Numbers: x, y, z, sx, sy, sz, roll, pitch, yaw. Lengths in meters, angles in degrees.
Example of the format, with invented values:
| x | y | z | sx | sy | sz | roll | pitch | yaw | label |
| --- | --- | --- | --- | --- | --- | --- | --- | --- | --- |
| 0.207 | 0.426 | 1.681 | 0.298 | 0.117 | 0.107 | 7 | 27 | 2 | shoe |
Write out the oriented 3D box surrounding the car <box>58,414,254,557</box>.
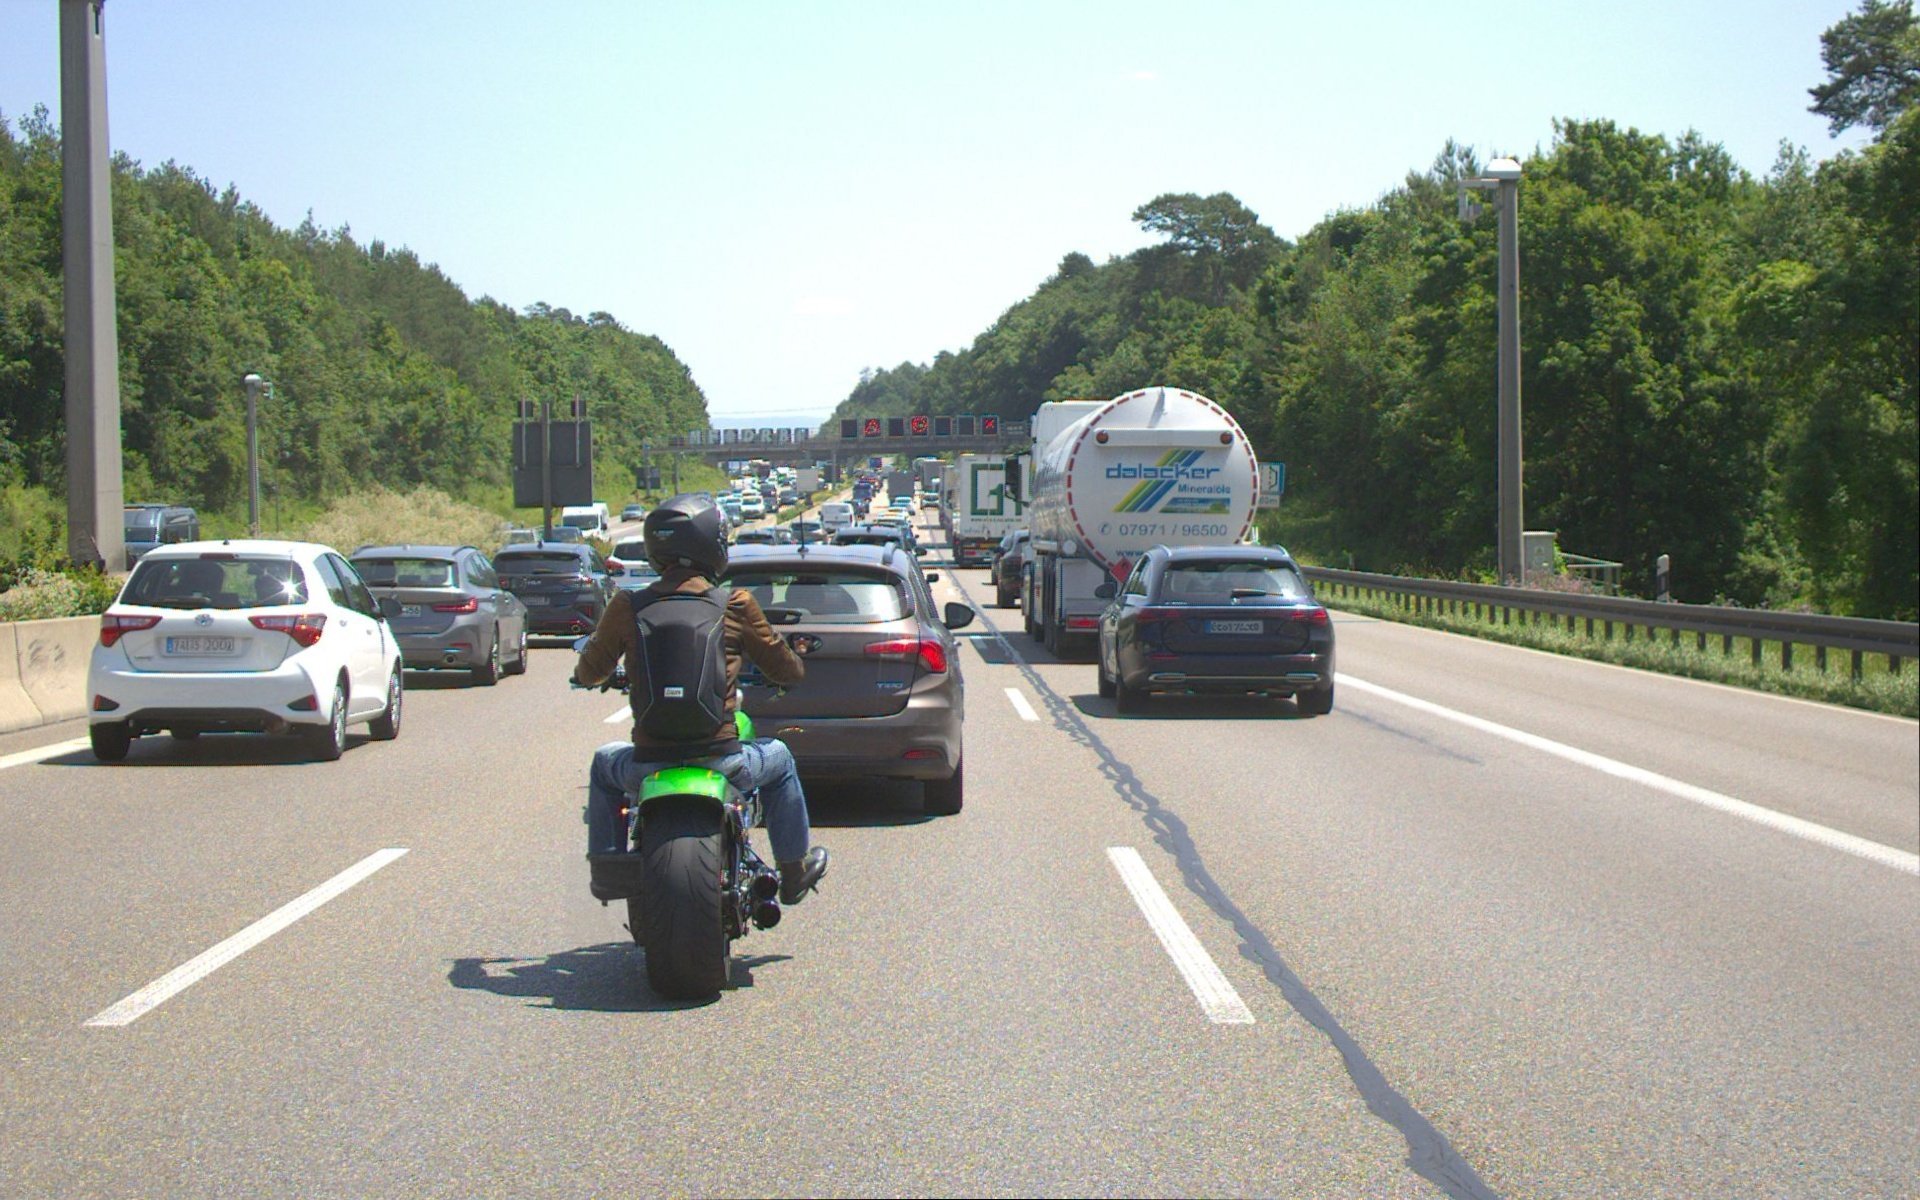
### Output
| x | y | z | sx | sy | sz | roll | pitch | yaw | label |
| --- | --- | --- | --- | --- | --- | --- | --- | --- | --- |
| -12.347 | -1.715 | 53.131 | 1.993 | 2.007 | 5.155 | 1 | 0 | -2 | car |

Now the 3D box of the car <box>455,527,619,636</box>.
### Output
| x | y | z | sx | sy | sz | roll | pitch | yaw | label |
| --- | --- | --- | --- | --- | --- | --- | --- | --- | --- |
| -5.912 | -0.242 | 48.405 | 1.993 | 1.459 | 4.000 | 1 | 0 | -3 | car |

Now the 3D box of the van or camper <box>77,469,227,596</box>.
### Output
| x | y | z | sx | sy | sz | roll | pitch | yaw | label |
| --- | --- | --- | --- | --- | --- | --- | --- | --- | --- |
| -19.233 | -1.555 | 82.137 | 2.154 | 2.849 | 6.653 | 1 | 0 | -2 | van or camper |

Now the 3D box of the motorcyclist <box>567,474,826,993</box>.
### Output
| x | y | z | sx | sy | sz | roll | pitch | yaw | label |
| --- | --- | --- | --- | --- | --- | --- | --- | --- | --- |
| -0.877 | 0.436 | 11.683 | 0.799 | 1.682 | 1.016 | 1 | 0 | -1 | motorcyclist |

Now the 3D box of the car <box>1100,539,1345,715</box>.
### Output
| x | y | z | sx | sy | sz | roll | pitch | yaw | label |
| --- | --- | --- | --- | --- | --- | --- | --- | --- | --- |
| 2.295 | 0.234 | 31.120 | 1.792 | 1.453 | 4.624 | 1 | 0 | -1 | car |

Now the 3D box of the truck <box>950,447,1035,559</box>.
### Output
| x | y | z | sx | sy | sz | roll | pitch | yaw | label |
| --- | --- | --- | --- | --- | --- | --- | --- | --- | --- |
| 1.213 | -3.438 | 124.168 | 2.854 | 3.808 | 7.187 | 1 | 0 | 2 | truck |

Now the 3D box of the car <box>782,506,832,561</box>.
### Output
| x | y | z | sx | sy | sz | roll | pitch | yaw | label |
| --- | --- | --- | --- | --- | --- | --- | --- | --- | --- |
| -5.598 | -2.424 | 125.805 | 1.660 | 1.971 | 4.000 | 0 | 0 | 0 | car |

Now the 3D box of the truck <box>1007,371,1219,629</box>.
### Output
| x | y | z | sx | sy | sz | roll | pitch | yaw | label |
| --- | --- | --- | --- | --- | --- | --- | --- | --- | --- |
| 2.230 | -1.420 | 52.439 | 2.828 | 3.658 | 6.429 | 1 | 0 | -1 | truck |

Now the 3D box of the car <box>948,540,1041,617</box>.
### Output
| x | y | z | sx | sy | sz | roll | pitch | yaw | label |
| --- | --- | --- | --- | --- | --- | --- | --- | --- | --- |
| 0.680 | -0.421 | 70.008 | 1.776 | 1.522 | 4.000 | 1 | 0 | -1 | car |

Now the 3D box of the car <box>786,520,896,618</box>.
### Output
| x | y | z | sx | sy | sz | roll | pitch | yaw | label |
| --- | --- | --- | --- | --- | --- | --- | --- | --- | --- |
| -2.232 | -0.566 | 64.669 | 1.993 | 1.769 | 4.000 | 1 | 0 | -2 | car |

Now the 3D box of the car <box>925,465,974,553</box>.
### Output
| x | y | z | sx | sy | sz | roll | pitch | yaw | label |
| --- | --- | --- | --- | --- | --- | --- | --- | --- | --- |
| -0.526 | -4.264 | 162.695 | 2.167 | 3.879 | 9.330 | 1 | 0 | -1 | car |

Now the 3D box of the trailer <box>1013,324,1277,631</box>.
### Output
| x | y | z | sx | sy | sz | roll | pitch | yaw | label |
| --- | --- | --- | --- | --- | --- | --- | --- | --- | --- |
| 2.308 | -1.457 | 46.706 | 2.828 | 3.658 | 10.732 | 1 | 0 | -1 | trailer |

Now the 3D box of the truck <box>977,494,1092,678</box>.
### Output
| x | y | z | sx | sy | sz | roll | pitch | yaw | label |
| --- | --- | --- | --- | --- | --- | --- | --- | --- | --- |
| 1.829 | -0.460 | 88.953 | 2.388 | 4.448 | 10.870 | 0 | 1 | -2 | truck |

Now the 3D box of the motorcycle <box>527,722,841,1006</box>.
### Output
| x | y | z | sx | sy | sz | roll | pitch | yaw | label |
| --- | --- | --- | --- | --- | --- | --- | --- | --- | --- |
| -0.911 | 0.876 | 12.016 | 0.936 | 0.790 | 2.299 | 1 | 0 | -1 | motorcycle |

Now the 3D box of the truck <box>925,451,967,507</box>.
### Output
| x | y | z | sx | sy | sz | roll | pitch | yaw | label |
| --- | --- | --- | --- | --- | --- | --- | --- | --- | --- |
| -0.954 | -7.974 | 227.952 | 2.696 | 3.394 | 10.479 | -1 | 1 | -1 | truck |

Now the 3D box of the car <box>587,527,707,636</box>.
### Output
| x | y | z | sx | sy | sz | roll | pitch | yaw | label |
| --- | --- | --- | --- | --- | --- | --- | --- | --- | --- |
| -5.954 | -0.330 | 65.753 | 1.993 | 2.007 | 4.000 | 1 | 0 | -1 | car |

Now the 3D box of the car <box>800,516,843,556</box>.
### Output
| x | y | z | sx | sy | sz | roll | pitch | yaw | label |
| --- | --- | --- | --- | --- | --- | --- | --- | --- | --- |
| -5.823 | -2.683 | 144.907 | 1.660 | 1.594 | 4.000 | 0 | 0 | 0 | car |

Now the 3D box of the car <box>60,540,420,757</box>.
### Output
| x | y | z | sx | sy | sz | roll | pitch | yaw | label |
| --- | --- | --- | --- | --- | --- | --- | --- | --- | --- |
| -5.033 | 0.300 | 24.533 | 1.776 | 1.406 | 4.000 | 1 | 1 | -1 | car |

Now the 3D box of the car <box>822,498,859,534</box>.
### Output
| x | y | z | sx | sy | sz | roll | pitch | yaw | label |
| --- | --- | --- | --- | --- | --- | --- | --- | --- | --- |
| -6.873 | -4.842 | 197.860 | 1.993 | 2.007 | 4.000 | -1 | 0 | -1 | car |

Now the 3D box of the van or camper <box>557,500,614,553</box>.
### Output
| x | y | z | sx | sy | sz | roll | pitch | yaw | label |
| --- | --- | --- | --- | --- | --- | --- | --- | --- | --- |
| -18.166 | -3.566 | 167.133 | 2.152 | 2.414 | 6.196 | 1 | 0 | -1 | van or camper |

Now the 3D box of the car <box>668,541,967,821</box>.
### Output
| x | y | z | sx | sy | sz | roll | pitch | yaw | label |
| --- | --- | --- | --- | --- | --- | --- | --- | --- | --- |
| -0.766 | 0.398 | 19.852 | 1.541 | 1.445 | 4.000 | 1 | 1 | -1 | car |

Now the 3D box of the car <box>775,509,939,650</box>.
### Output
| x | y | z | sx | sy | sz | roll | pitch | yaw | label |
| --- | --- | --- | --- | --- | --- | --- | --- | --- | --- |
| -1.323 | -0.242 | 44.145 | 1.993 | 1.705 | 4.000 | 1 | 0 | -2 | car |

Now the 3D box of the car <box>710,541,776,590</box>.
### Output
| x | y | z | sx | sy | sz | roll | pitch | yaw | label |
| --- | --- | --- | --- | --- | --- | --- | --- | --- | --- |
| -6.556 | -1.058 | 104.142 | 1.764 | 1.437 | 4.000 | 0 | 1 | 0 | car |

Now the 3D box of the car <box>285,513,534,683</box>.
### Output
| x | y | z | sx | sy | sz | roll | pitch | yaw | label |
| --- | --- | --- | --- | --- | --- | --- | --- | --- | --- |
| -5.752 | -0.013 | 36.417 | 1.993 | 1.678 | 4.330 | 1 | 0 | -1 | car |
